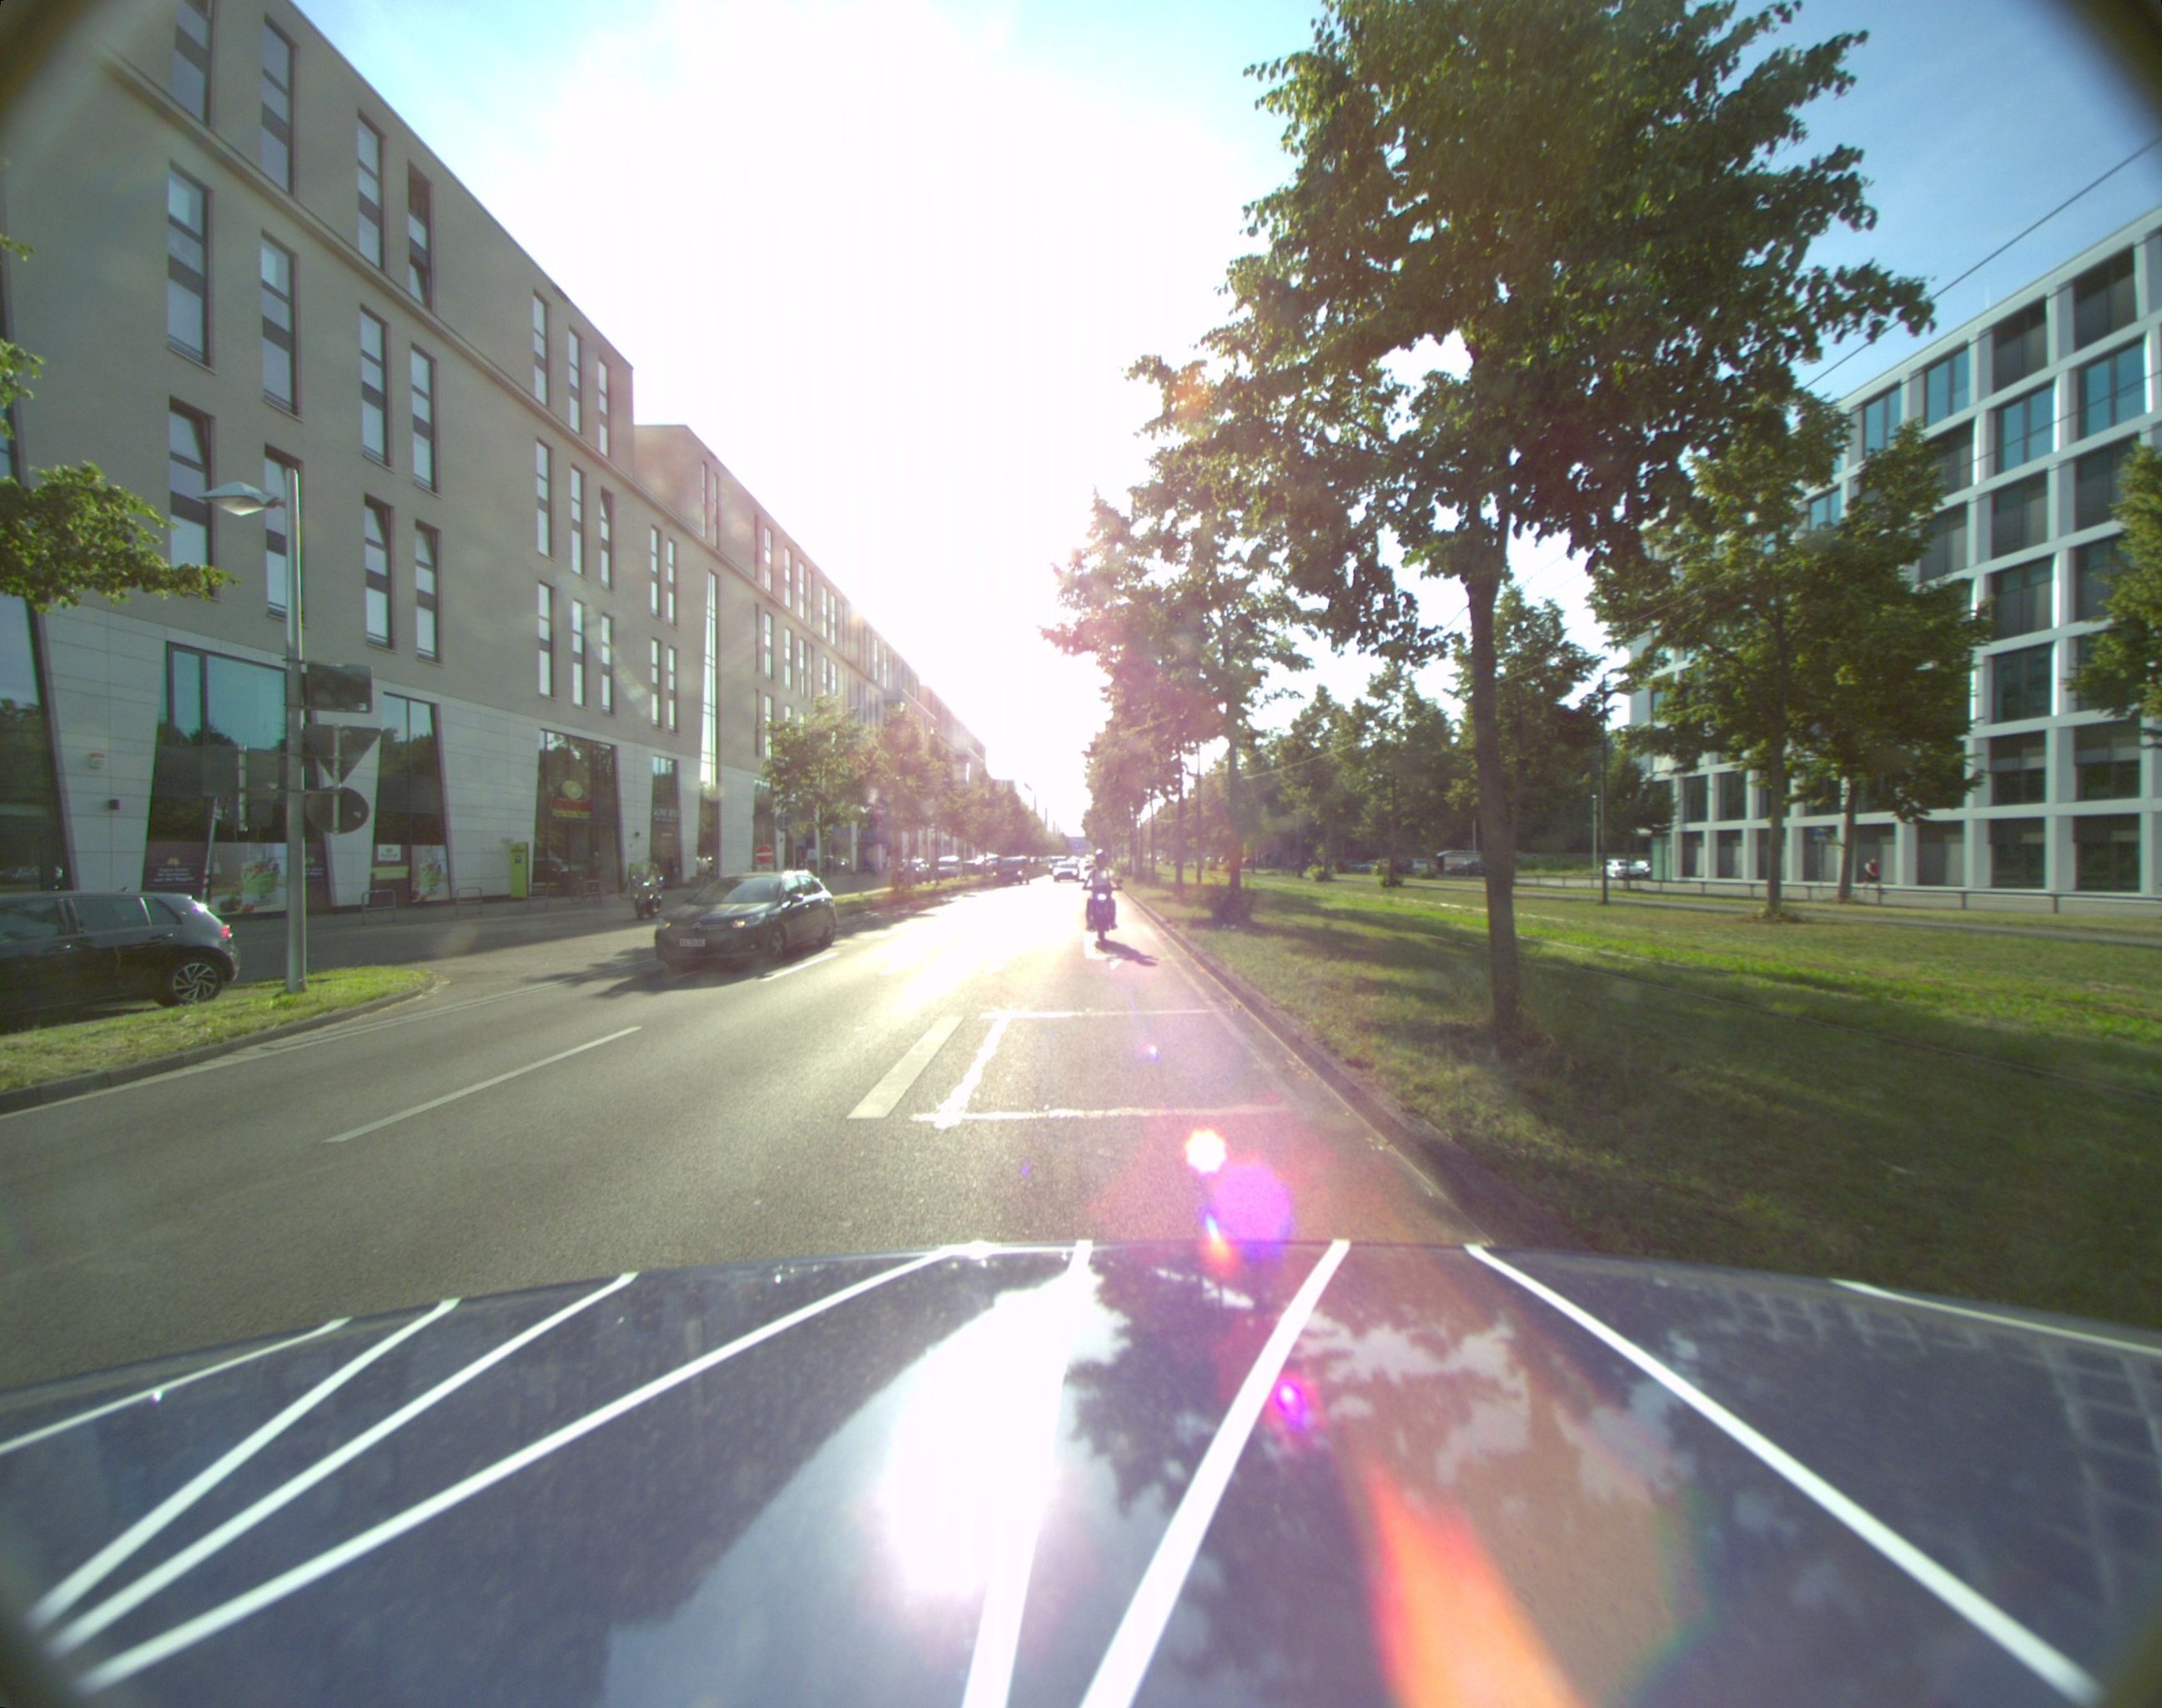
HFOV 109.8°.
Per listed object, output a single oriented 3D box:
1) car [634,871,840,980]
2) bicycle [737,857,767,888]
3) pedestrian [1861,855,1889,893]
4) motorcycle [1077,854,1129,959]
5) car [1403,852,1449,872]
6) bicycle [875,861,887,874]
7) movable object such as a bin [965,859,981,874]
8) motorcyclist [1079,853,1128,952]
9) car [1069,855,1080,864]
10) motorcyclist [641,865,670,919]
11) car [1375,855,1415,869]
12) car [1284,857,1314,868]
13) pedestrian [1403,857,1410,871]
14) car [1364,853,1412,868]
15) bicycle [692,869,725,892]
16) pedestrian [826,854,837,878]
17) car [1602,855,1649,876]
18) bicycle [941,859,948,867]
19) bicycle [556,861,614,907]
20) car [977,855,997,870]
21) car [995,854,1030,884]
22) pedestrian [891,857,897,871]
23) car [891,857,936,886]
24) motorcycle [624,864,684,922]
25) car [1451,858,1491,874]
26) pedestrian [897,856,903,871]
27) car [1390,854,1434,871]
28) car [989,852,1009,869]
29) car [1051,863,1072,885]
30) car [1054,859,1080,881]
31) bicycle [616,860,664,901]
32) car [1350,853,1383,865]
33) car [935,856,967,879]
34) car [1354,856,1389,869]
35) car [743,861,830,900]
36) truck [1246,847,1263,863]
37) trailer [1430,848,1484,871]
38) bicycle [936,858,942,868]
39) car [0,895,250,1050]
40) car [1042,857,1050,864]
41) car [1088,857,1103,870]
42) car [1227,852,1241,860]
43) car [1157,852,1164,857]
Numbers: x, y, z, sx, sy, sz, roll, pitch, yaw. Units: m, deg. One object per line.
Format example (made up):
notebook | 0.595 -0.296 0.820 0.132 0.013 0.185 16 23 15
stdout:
car | -5.710 1.100 13.223 1.698 1.416 4.038 -2 1 0
bicycle | -18.202 0.988 42.106 0.557 1.610 2.212 -2 1 1
pedestrian | 36.729 0.913 35.159 0.569 1.718 0.691 -2 1 1
motorcycle | 0.355 0.868 13.757 0.798 1.659 2.634 -2 1 0
car | 36.596 0.813 80.681 4.002 1.936 1.757 -2 1 1
bicycle | -17.578 1.169 66.703 0.493 1.110 1.945 0 1 1
movable object such as a bin | -10.057 1.135 70.685 1.281 1.284 1.178 -2 1 -3
motorcyclist | 0.395 0.859 13.773 0.814 1.700 0.843 -2 1 0
car | -1.166 1.027 141.302 1.840 1.521 4.327 -2 1 0
motorcyclist | -13.125 1.170 23.436 0.625 1.631 0.417 1 1 -3
car | 37.608 0.962 91.029 3.996 1.551 1.856 -2 1 3
car | 30.975 1.184 108.046 1.690 1.427 4.026 -3 1 -29
pedestrian | 34.726 1.049 81.047 0.523 1.472 0.568 -2 1 0
car | 37.773 0.794 93.522 5.071 1.725 1.886 -2 1 3
bicycle | -18.210 1.287 37.139 0.635 1.077 1.904 0 0 1
pedestrian | -19.030 0.922 57.899 0.538 1.752 0.646 -2 1 1
car | 47.110 0.953 65.845 1.851 1.586 4.003 -2 1 11
bicycle | -17.328 1.100 96.234 0.419 0.995 2.043 3 1 1
bicycle | -18.437 1.074 28.307 0.557 1.562 2.276 -2 1 1
car | -10.308 0.901 83.653 1.735 1.620 4.848 -1 1 -2
car | -4.643 0.974 52.119 1.803 1.880 4.820 -2 1 0
pedestrian | -19.994 1.074 81.278 0.515 1.513 0.597 -2 1 0
car | -10.772 1.073 49.113 1.902 1.698 4.677 -2 0 -1
motorcycle | -13.152 1.169 23.493 0.703 1.608 2.011 3 1 -2
car | 36.394 1.092 70.971 1.684 1.385 3.760 -2 1 -3
pedestrian | -19.400 1.050 81.355 0.540 1.565 0.514 -2 1 -14
car | 36.401 0.938 83.656 4.002 1.633 1.757 -2 1 1
car | -9.998 0.791 92.972 1.842 1.865 5.030 -2 1 0
car | -1.990 2.040 78.971 1.909 2.002 4.000 -2 1 1
car | -1.065 1.120 54.617 1.756 1.427 4.034 -2 1 -2
bicycle | -18.157 1.067 31.354 0.557 1.558 2.212 -2 1 1
car | 38.807 0.711 103.270 3.865 1.477 1.744 -2 1 8
car | -10.515 1.049 61.644 1.832 1.702 4.295 -2 1 -1
car | 36.729 1.061 96.074 3.655 1.420 1.809 -2 1 3
car | -10.927 0.944 28.493 1.712 1.235 3.905 -2 1 0
truck | 39.841 0.213 174.673 2.895 3.496 7.946 -2 1 5
trailer | 36.998 0.561 74.802 4.374 2.042 1.758 -2 1 4
bicycle | -17.297 1.103 92.519 0.345 1.075 1.732 3 1 1
car | -11.367 1.256 7.481 1.610 1.362 4.158 -2 1 3
car | -9.179 1.688 201.457 1.840 1.521 4.327 -2 1 0
car | 1.770 1.196 94.307 1.739 1.499 3.999 -2 1 0
car | 28.722 0.377 142.695 1.835 1.423 4.474 -2 1 2
car | 25.446 0.195 244.226 1.686 1.467 4.812 2 1 1
